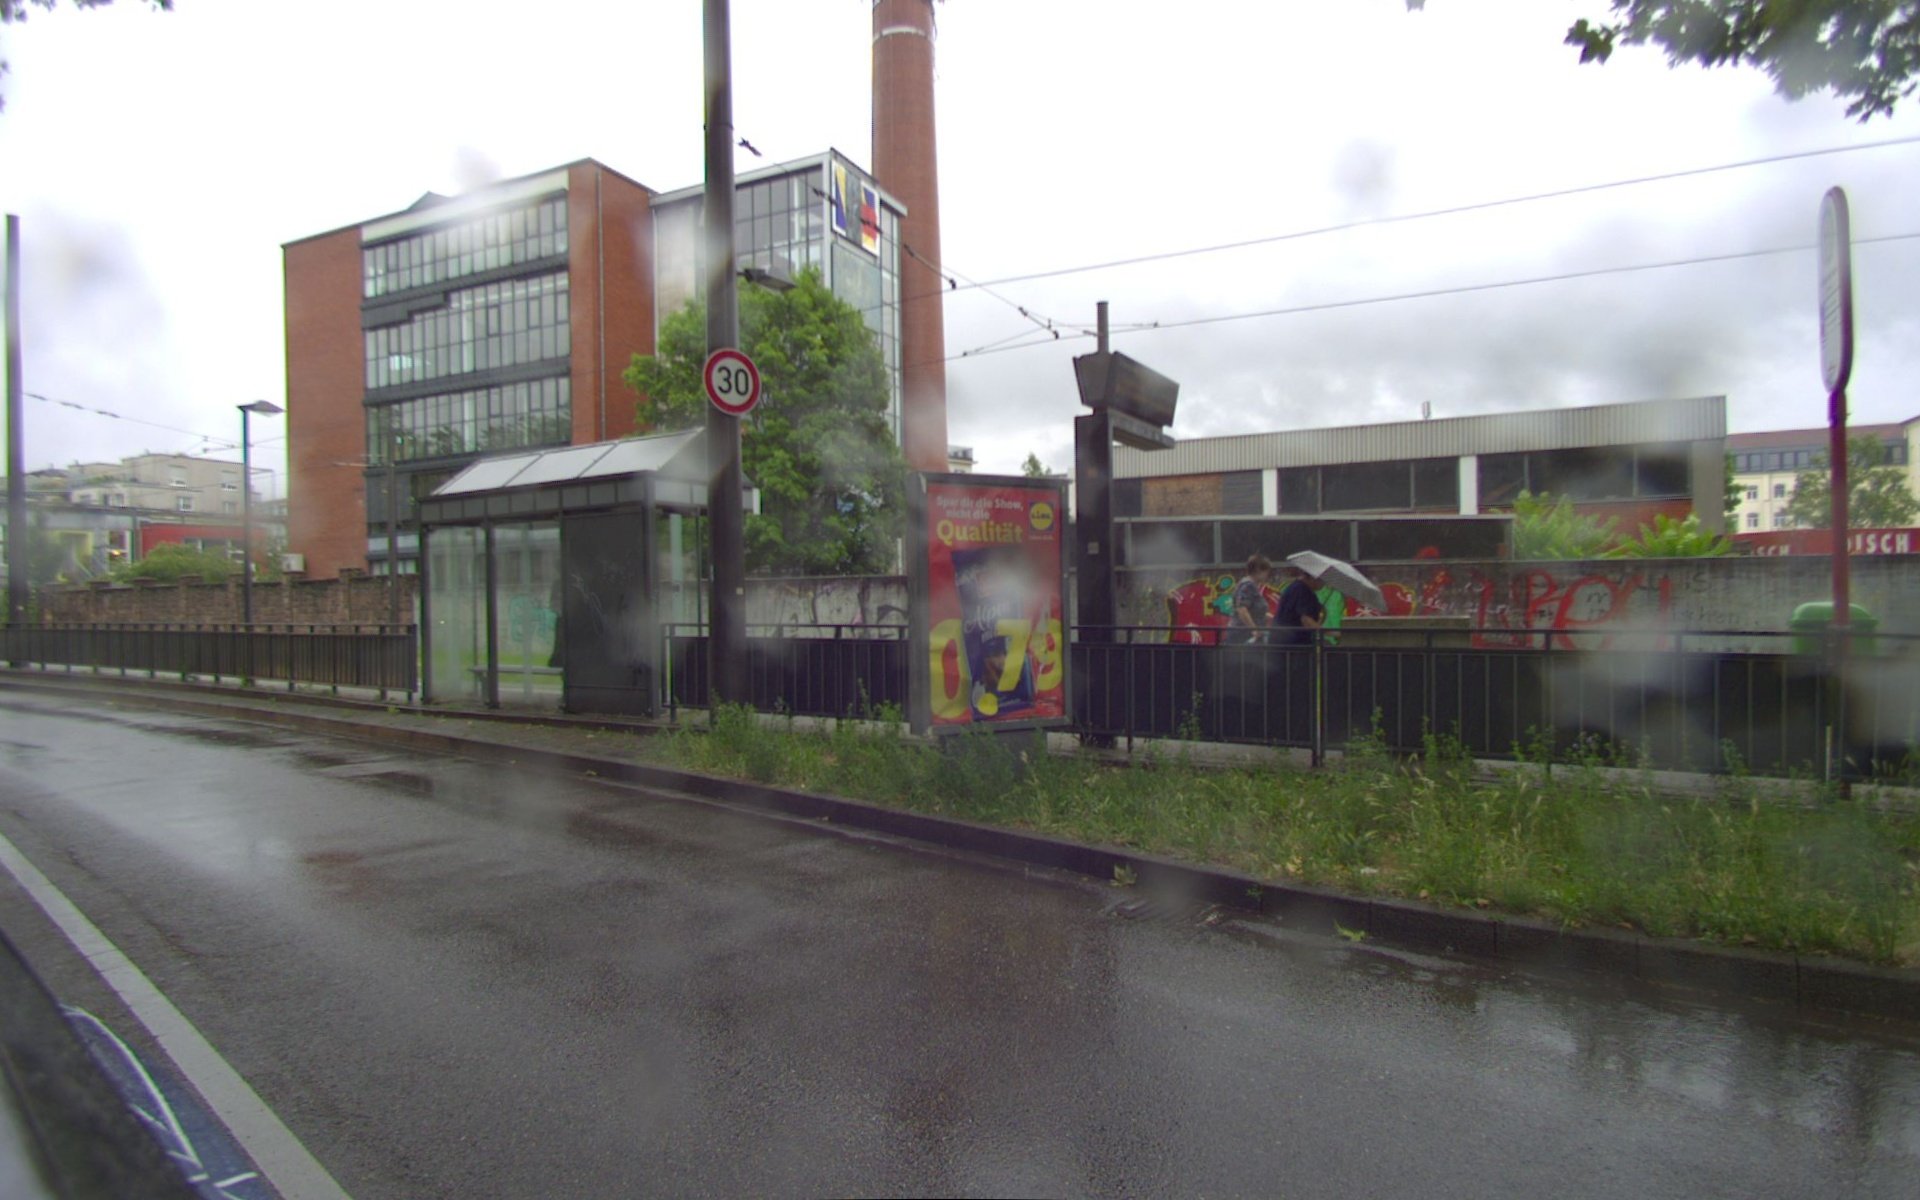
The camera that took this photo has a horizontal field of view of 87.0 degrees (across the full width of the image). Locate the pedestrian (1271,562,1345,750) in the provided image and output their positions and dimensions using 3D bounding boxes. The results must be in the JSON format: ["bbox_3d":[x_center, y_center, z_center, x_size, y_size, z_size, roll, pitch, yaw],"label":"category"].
[{"bbox_3d":[2.788,0.427,8.087,0.492,1.438,0.606,-1,0,25],"label":"pedestrian"}]

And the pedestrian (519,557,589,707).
[{"bbox_3d":[-4.924,0.377,12.273,0.620,1.762,0.565,-1,0,-41],"label":"pedestrian"}]

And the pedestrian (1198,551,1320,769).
[{"bbox_3d":[2.673,0.508,9.023,0.841,1.818,0.819,-1,0,30],"label":"pedestrian"}]
